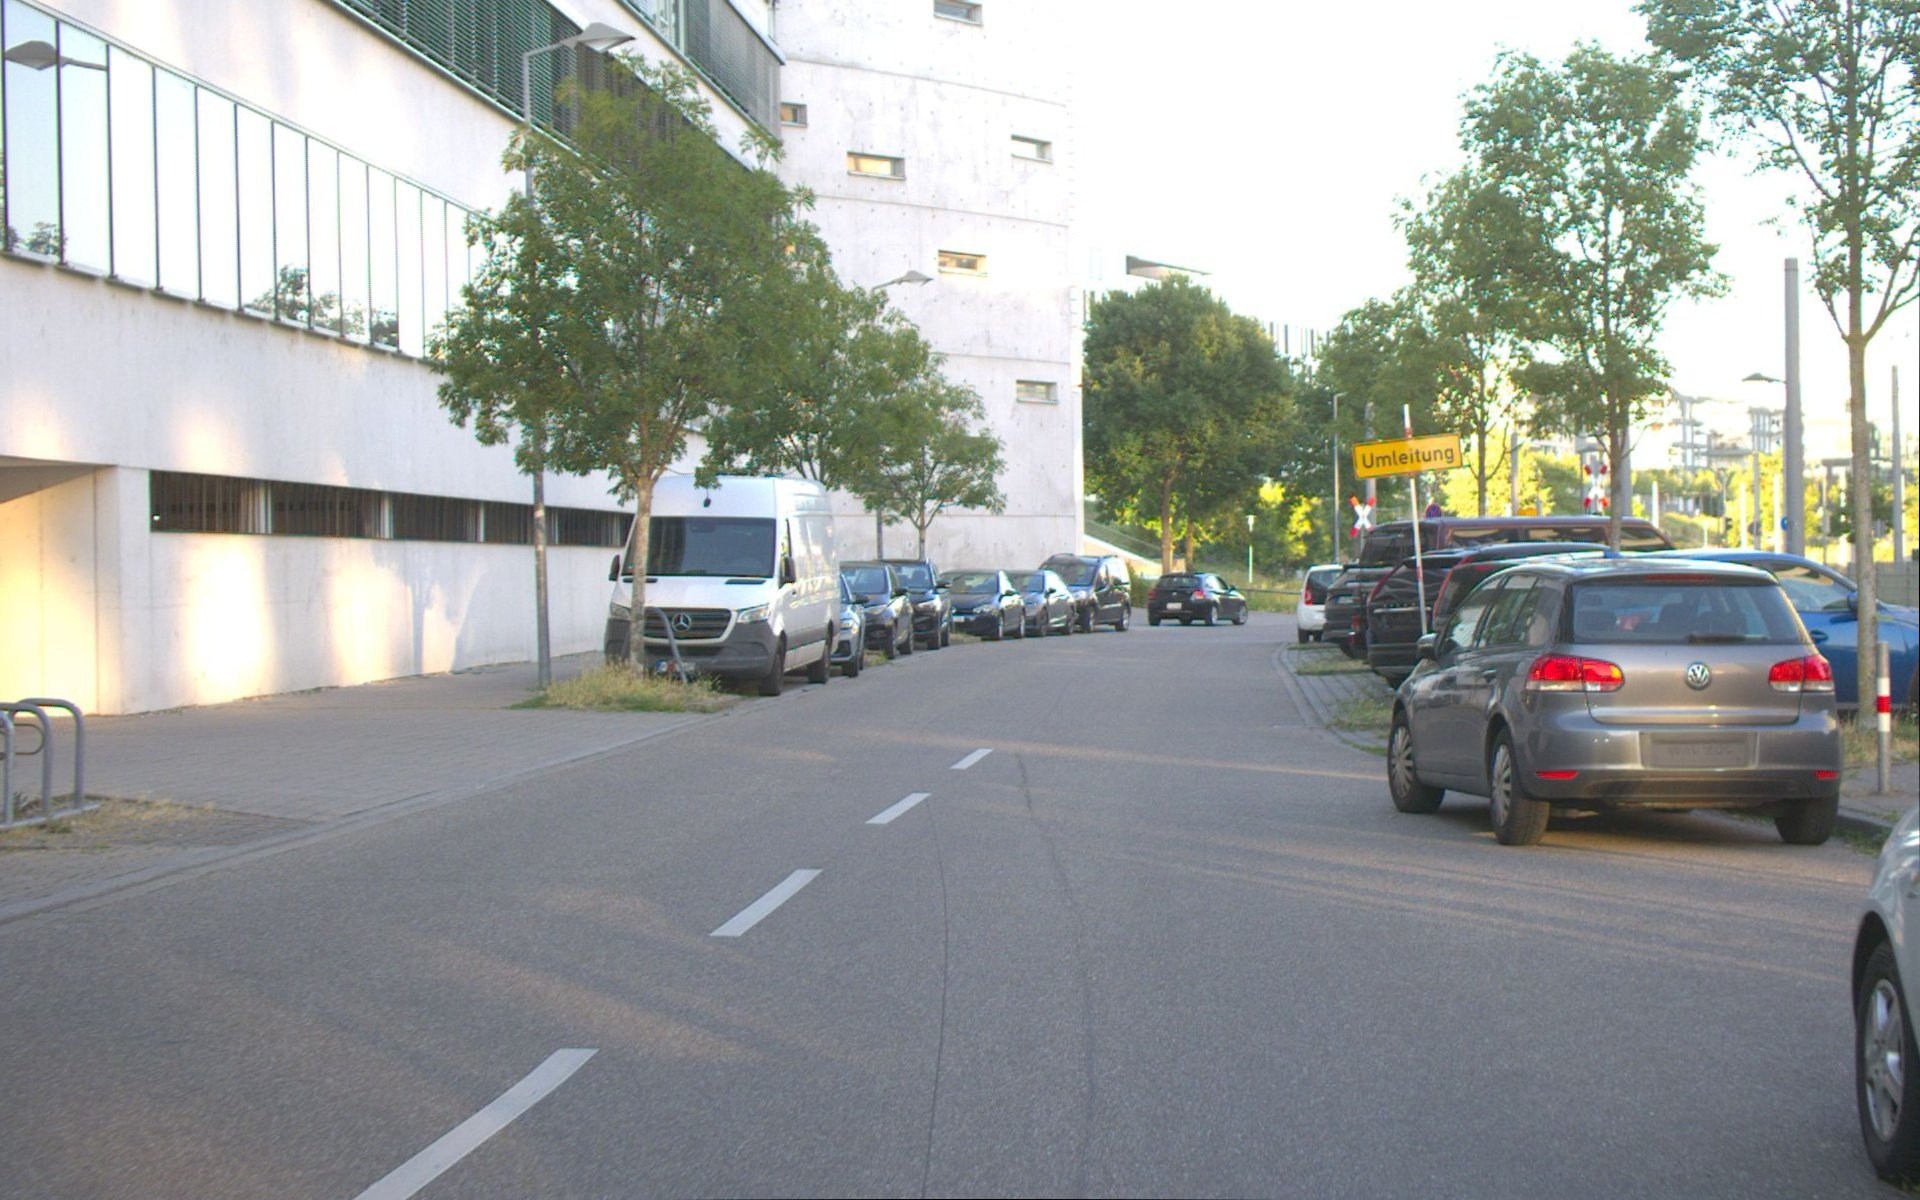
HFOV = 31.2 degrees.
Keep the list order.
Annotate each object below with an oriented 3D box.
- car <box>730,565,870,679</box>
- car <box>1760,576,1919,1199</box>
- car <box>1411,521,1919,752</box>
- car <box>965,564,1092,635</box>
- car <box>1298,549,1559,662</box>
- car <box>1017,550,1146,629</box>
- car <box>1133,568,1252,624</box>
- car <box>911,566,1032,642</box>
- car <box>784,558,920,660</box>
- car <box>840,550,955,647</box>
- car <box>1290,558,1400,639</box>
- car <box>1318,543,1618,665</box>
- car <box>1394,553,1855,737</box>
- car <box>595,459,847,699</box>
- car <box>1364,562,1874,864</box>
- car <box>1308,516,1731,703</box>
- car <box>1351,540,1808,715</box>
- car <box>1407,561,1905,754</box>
[{"bbox_3d":[-2.188,0.272,47.798,1.756,1.435,3.902,1,1,0],"label":"car"},{"bbox_3d":[2.947,0.684,7.152,1.676,1.447,4.187,-1,1,1],"label":"car"},{"bbox_3d":[5.508,0.237,25.171,3.987,1.515,1.928,-2,0,-31],"label":"car"},{"bbox_3d":[1.557,-0.032,76.403,1.723,1.452,4.691,2,1,15],"label":"car"},{"bbox_3d":[7.460,0.081,54.677,3.766,1.720,1.764,0,1,-28],"label":"car"},{"bbox_3d":[2.913,-0.274,81.406,1.759,1.792,4.459,2,1,20],"label":"car"},{"bbox_3d":[6.222,-0.118,91.570,1.946,1.378,4.394,2,1,21],"label":"car"},{"bbox_3d":[0.271,0.054,71.056,1.723,1.452,4.269,1,1,11],"label":"car"},{"bbox_3d":[-1.733,0.118,56.604,1.756,1.555,4.042,1,1,5],"label":"car"},{"bbox_3d":[-1.107,-0.052,62.750,1.756,1.648,3.948,1,1,4],"label":"car"},{"bbox_3d":[7.445,-0.039,66.263,1.723,1.462,3.551,-1,1,12],"label":"car"},{"bbox_3d":[7.662,0.058,51.916,3.973,1.634,1.973,-3,0,-23],"label":"car"},{"bbox_3d":[6.112,0.412,31.498,3.987,1.589,1.737,1,0,-31],"label":"car"},{"bbox_3d":[-2.765,-0.304,41.448,1.958,2.608,6.891,1,1,5],"label":"car"},{"bbox_3d":[3.492,0.550,18.967,1.731,1.461,4.001,1,0,-5],"label":"car"},{"bbox_3d":[6.433,0.085,39.428,4.588,2.028,1.872,0,1,-29],"label":"car"},{"bbox_3d":[6.581,0.264,36.404,4.588,1.743,1.872,0,1,-29],"label":"car"},{"bbox_3d":[5.821,0.438,28.615,3.987,1.460,1.737,-1,1,-33],"label":"car"}]
